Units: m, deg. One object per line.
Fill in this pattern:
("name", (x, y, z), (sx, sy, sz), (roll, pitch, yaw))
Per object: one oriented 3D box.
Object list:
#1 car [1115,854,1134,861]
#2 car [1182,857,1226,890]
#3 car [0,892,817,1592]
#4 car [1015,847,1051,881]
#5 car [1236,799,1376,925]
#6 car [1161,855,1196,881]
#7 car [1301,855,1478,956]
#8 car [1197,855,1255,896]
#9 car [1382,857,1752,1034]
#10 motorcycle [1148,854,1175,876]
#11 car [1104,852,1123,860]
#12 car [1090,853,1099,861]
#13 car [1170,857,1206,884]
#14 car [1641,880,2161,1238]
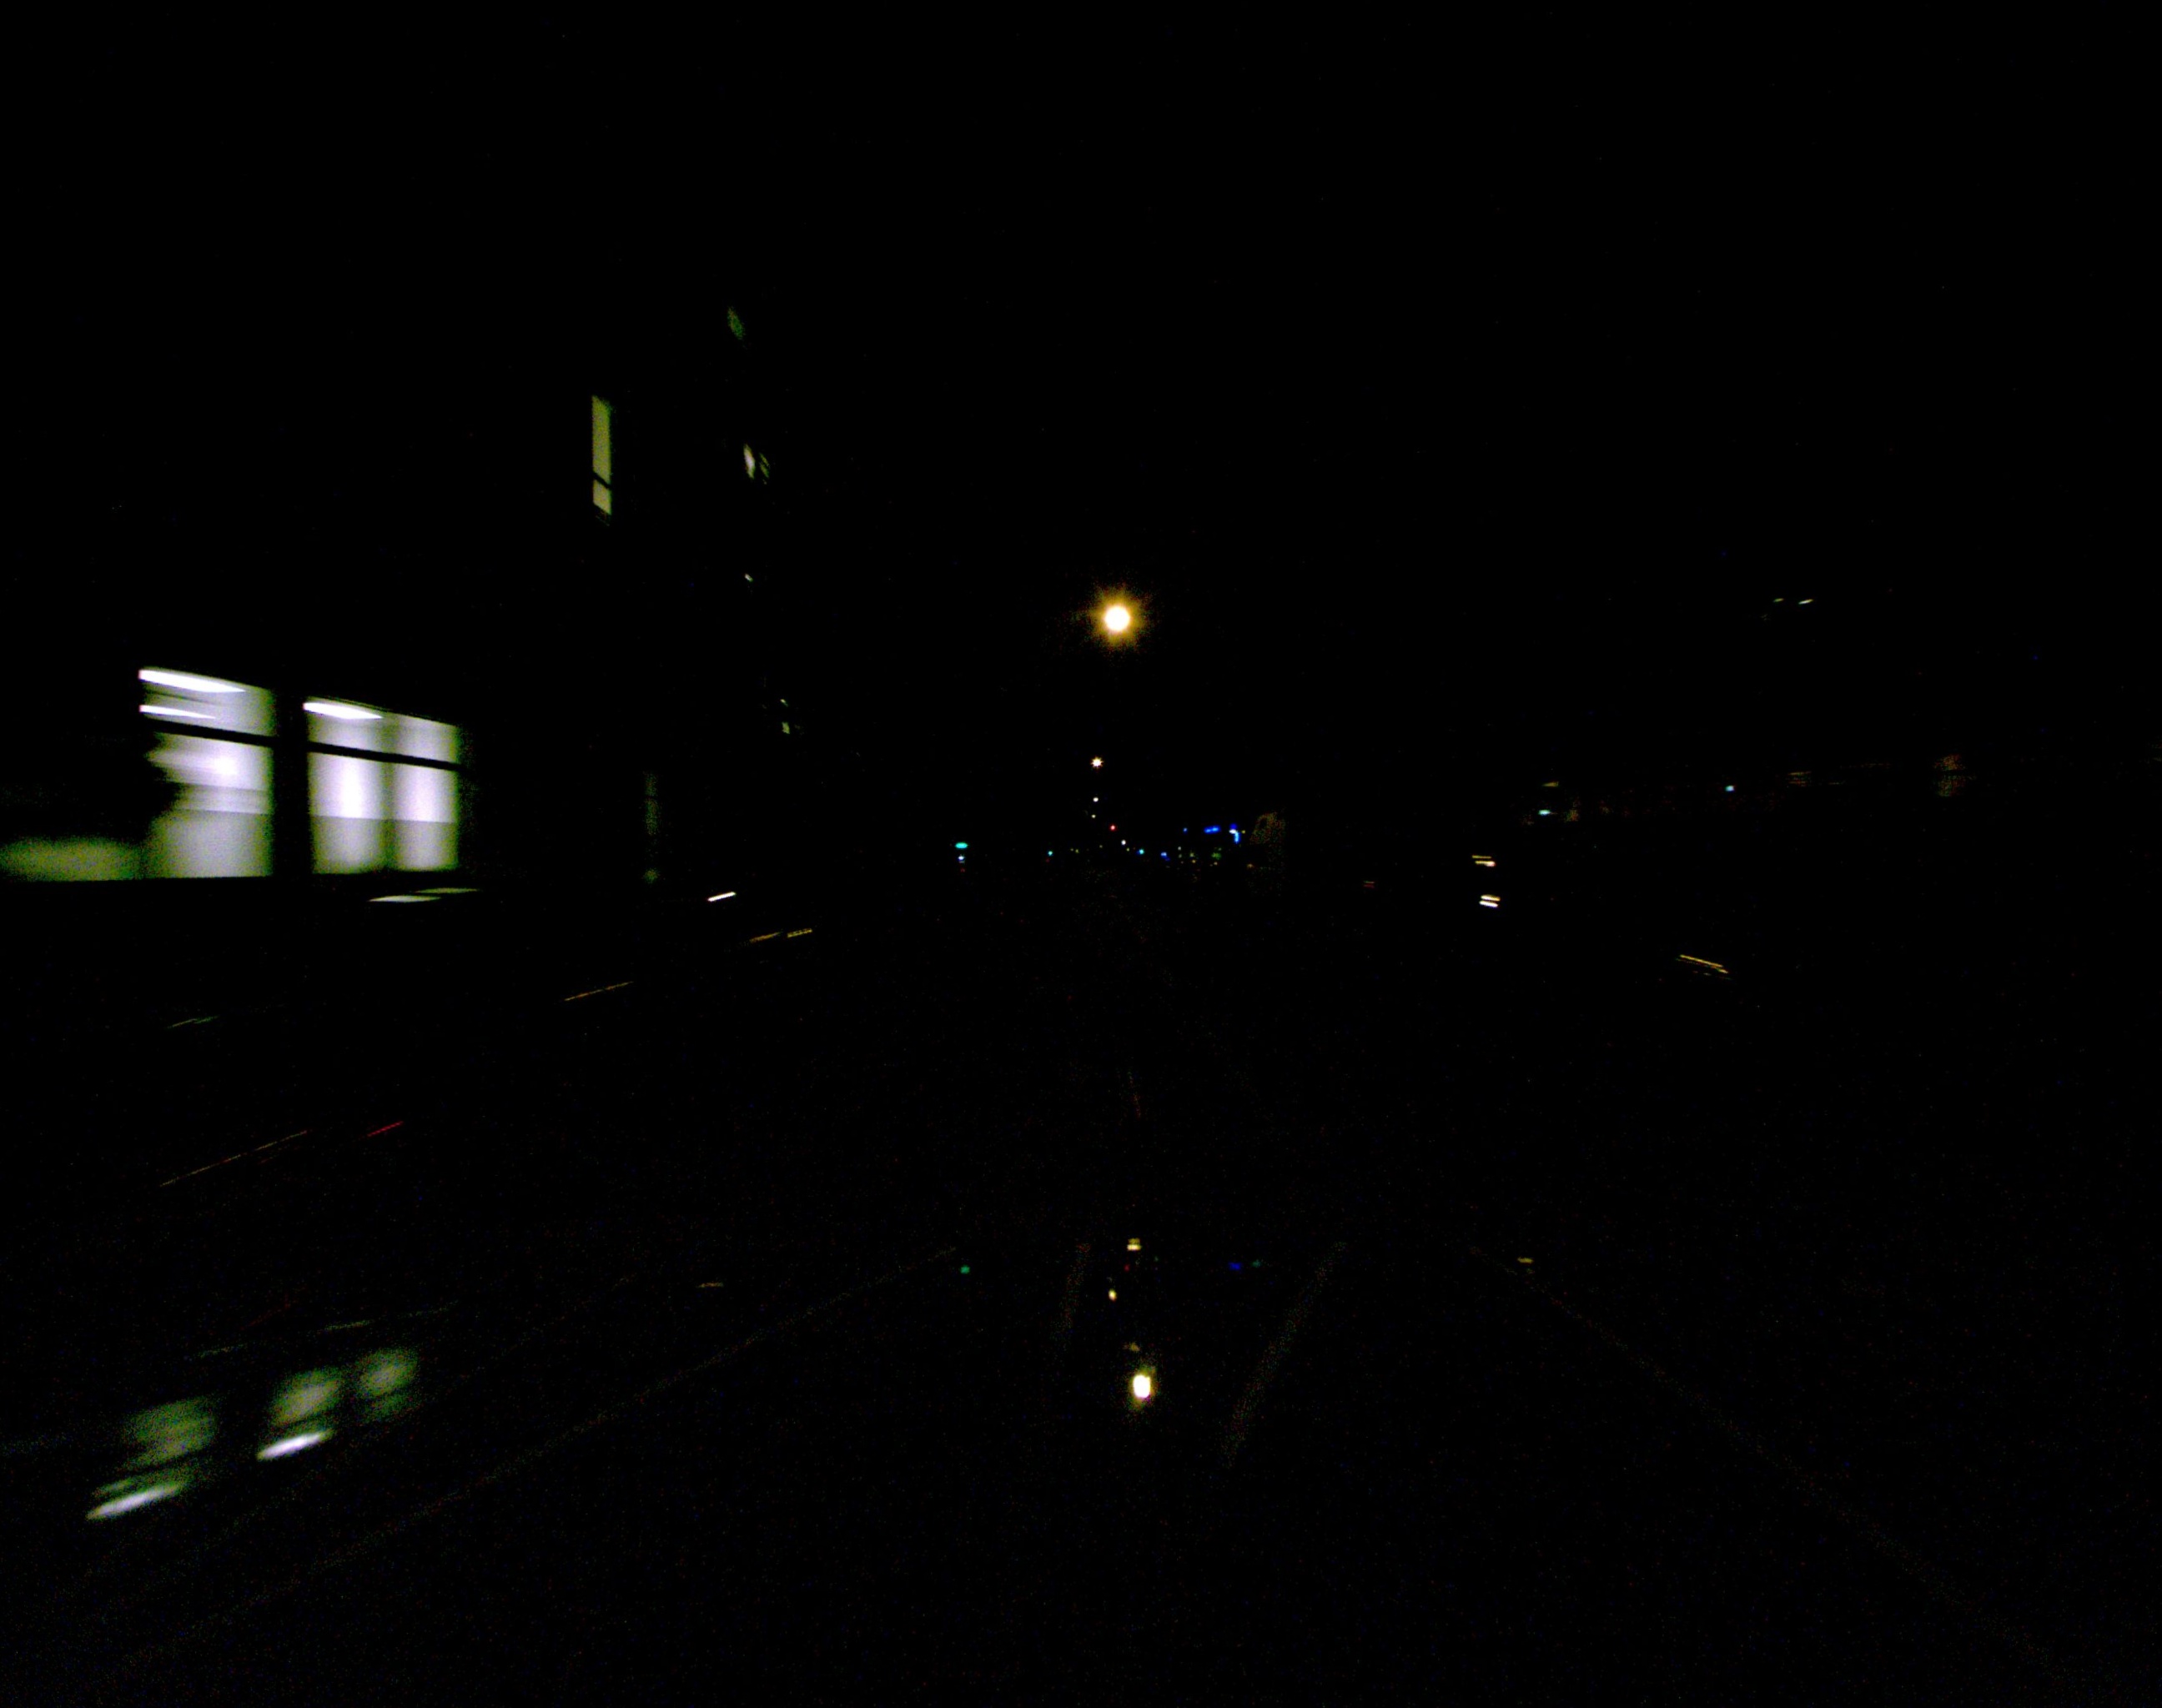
("car", (9.117, 0.700, 159.264), (3.763, 1.577, 1.634), (0, 1, -3))
("car", (5.999, 0.925, 37.395), (1.551, 1.447, 3.368), (-3, 0, 0))
("car", (-3.025, 1.034, 3.921), (1.672, 1.420, 4.148), (1, 0, 3))
("car", (-2.869, 0.602, 46.192), (1.956, 1.952, 4.603), (0, 0, -1))
("car", (5.830, 0.185, 20.436), (2.184, 2.892, 4.909), (-2, 0, 0))
("car", (6.147, 0.862, 48.284), (1.646, 1.495, 3.903), (-3, 0, 0))
("car", (5.697, 0.856, 14.612), (1.746, 1.597, 4.116), (-2, 0, 1))
("car", (5.946, 0.845, 31.484), (1.649, 1.496, 3.861), (-3, 0, 1))
("car", (5.531, 0.890, 9.454), (1.746, 1.597, 4.297), (-2, 0, -1))
("motorcycle", (6.139, 0.843, 57.797), (1.909, 1.541, 0.638), (-3, 1, -19))
("car", (7.063, 0.442, 166.418), (4.055, 1.879, 1.634), (0, 1, -3))
("car", (3.038, 0.671, 174.174), (1.936, 1.646, 3.833), (0, 0, 0))
("car", (6.095, 0.906, 43.499), (1.448, 1.421, 3.903), (-3, 0, 0))
("car", (5.676, 0.975, 4.195), (1.709, 1.403, 4.633), (-3, 0, 0))
